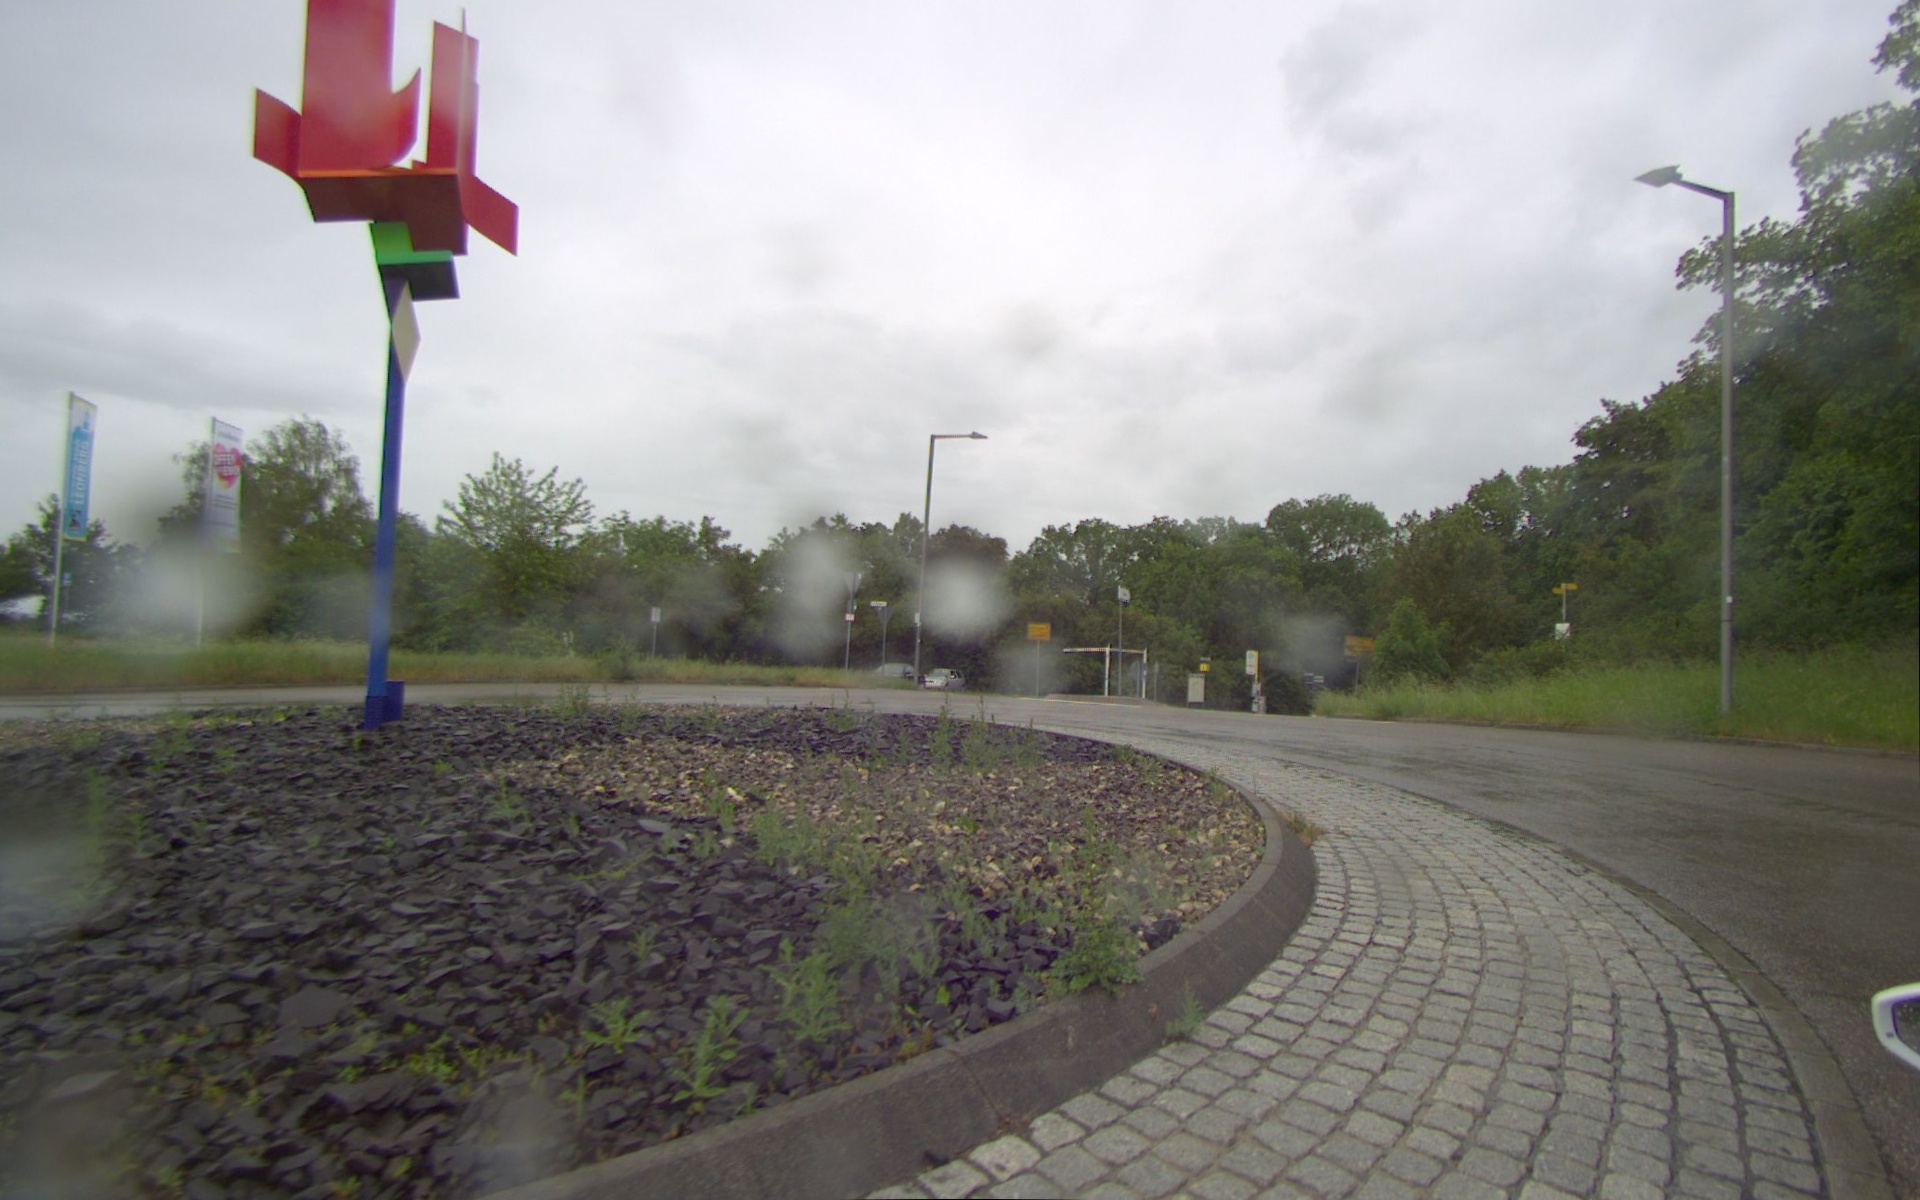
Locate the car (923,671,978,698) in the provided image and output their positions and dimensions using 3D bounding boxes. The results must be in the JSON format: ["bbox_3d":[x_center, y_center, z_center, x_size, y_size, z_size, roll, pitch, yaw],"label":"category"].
[{"bbox_3d":[-0.493,4.691,56.247,1.576,1.373,4.122,1,-3,23],"label":"car"}]
